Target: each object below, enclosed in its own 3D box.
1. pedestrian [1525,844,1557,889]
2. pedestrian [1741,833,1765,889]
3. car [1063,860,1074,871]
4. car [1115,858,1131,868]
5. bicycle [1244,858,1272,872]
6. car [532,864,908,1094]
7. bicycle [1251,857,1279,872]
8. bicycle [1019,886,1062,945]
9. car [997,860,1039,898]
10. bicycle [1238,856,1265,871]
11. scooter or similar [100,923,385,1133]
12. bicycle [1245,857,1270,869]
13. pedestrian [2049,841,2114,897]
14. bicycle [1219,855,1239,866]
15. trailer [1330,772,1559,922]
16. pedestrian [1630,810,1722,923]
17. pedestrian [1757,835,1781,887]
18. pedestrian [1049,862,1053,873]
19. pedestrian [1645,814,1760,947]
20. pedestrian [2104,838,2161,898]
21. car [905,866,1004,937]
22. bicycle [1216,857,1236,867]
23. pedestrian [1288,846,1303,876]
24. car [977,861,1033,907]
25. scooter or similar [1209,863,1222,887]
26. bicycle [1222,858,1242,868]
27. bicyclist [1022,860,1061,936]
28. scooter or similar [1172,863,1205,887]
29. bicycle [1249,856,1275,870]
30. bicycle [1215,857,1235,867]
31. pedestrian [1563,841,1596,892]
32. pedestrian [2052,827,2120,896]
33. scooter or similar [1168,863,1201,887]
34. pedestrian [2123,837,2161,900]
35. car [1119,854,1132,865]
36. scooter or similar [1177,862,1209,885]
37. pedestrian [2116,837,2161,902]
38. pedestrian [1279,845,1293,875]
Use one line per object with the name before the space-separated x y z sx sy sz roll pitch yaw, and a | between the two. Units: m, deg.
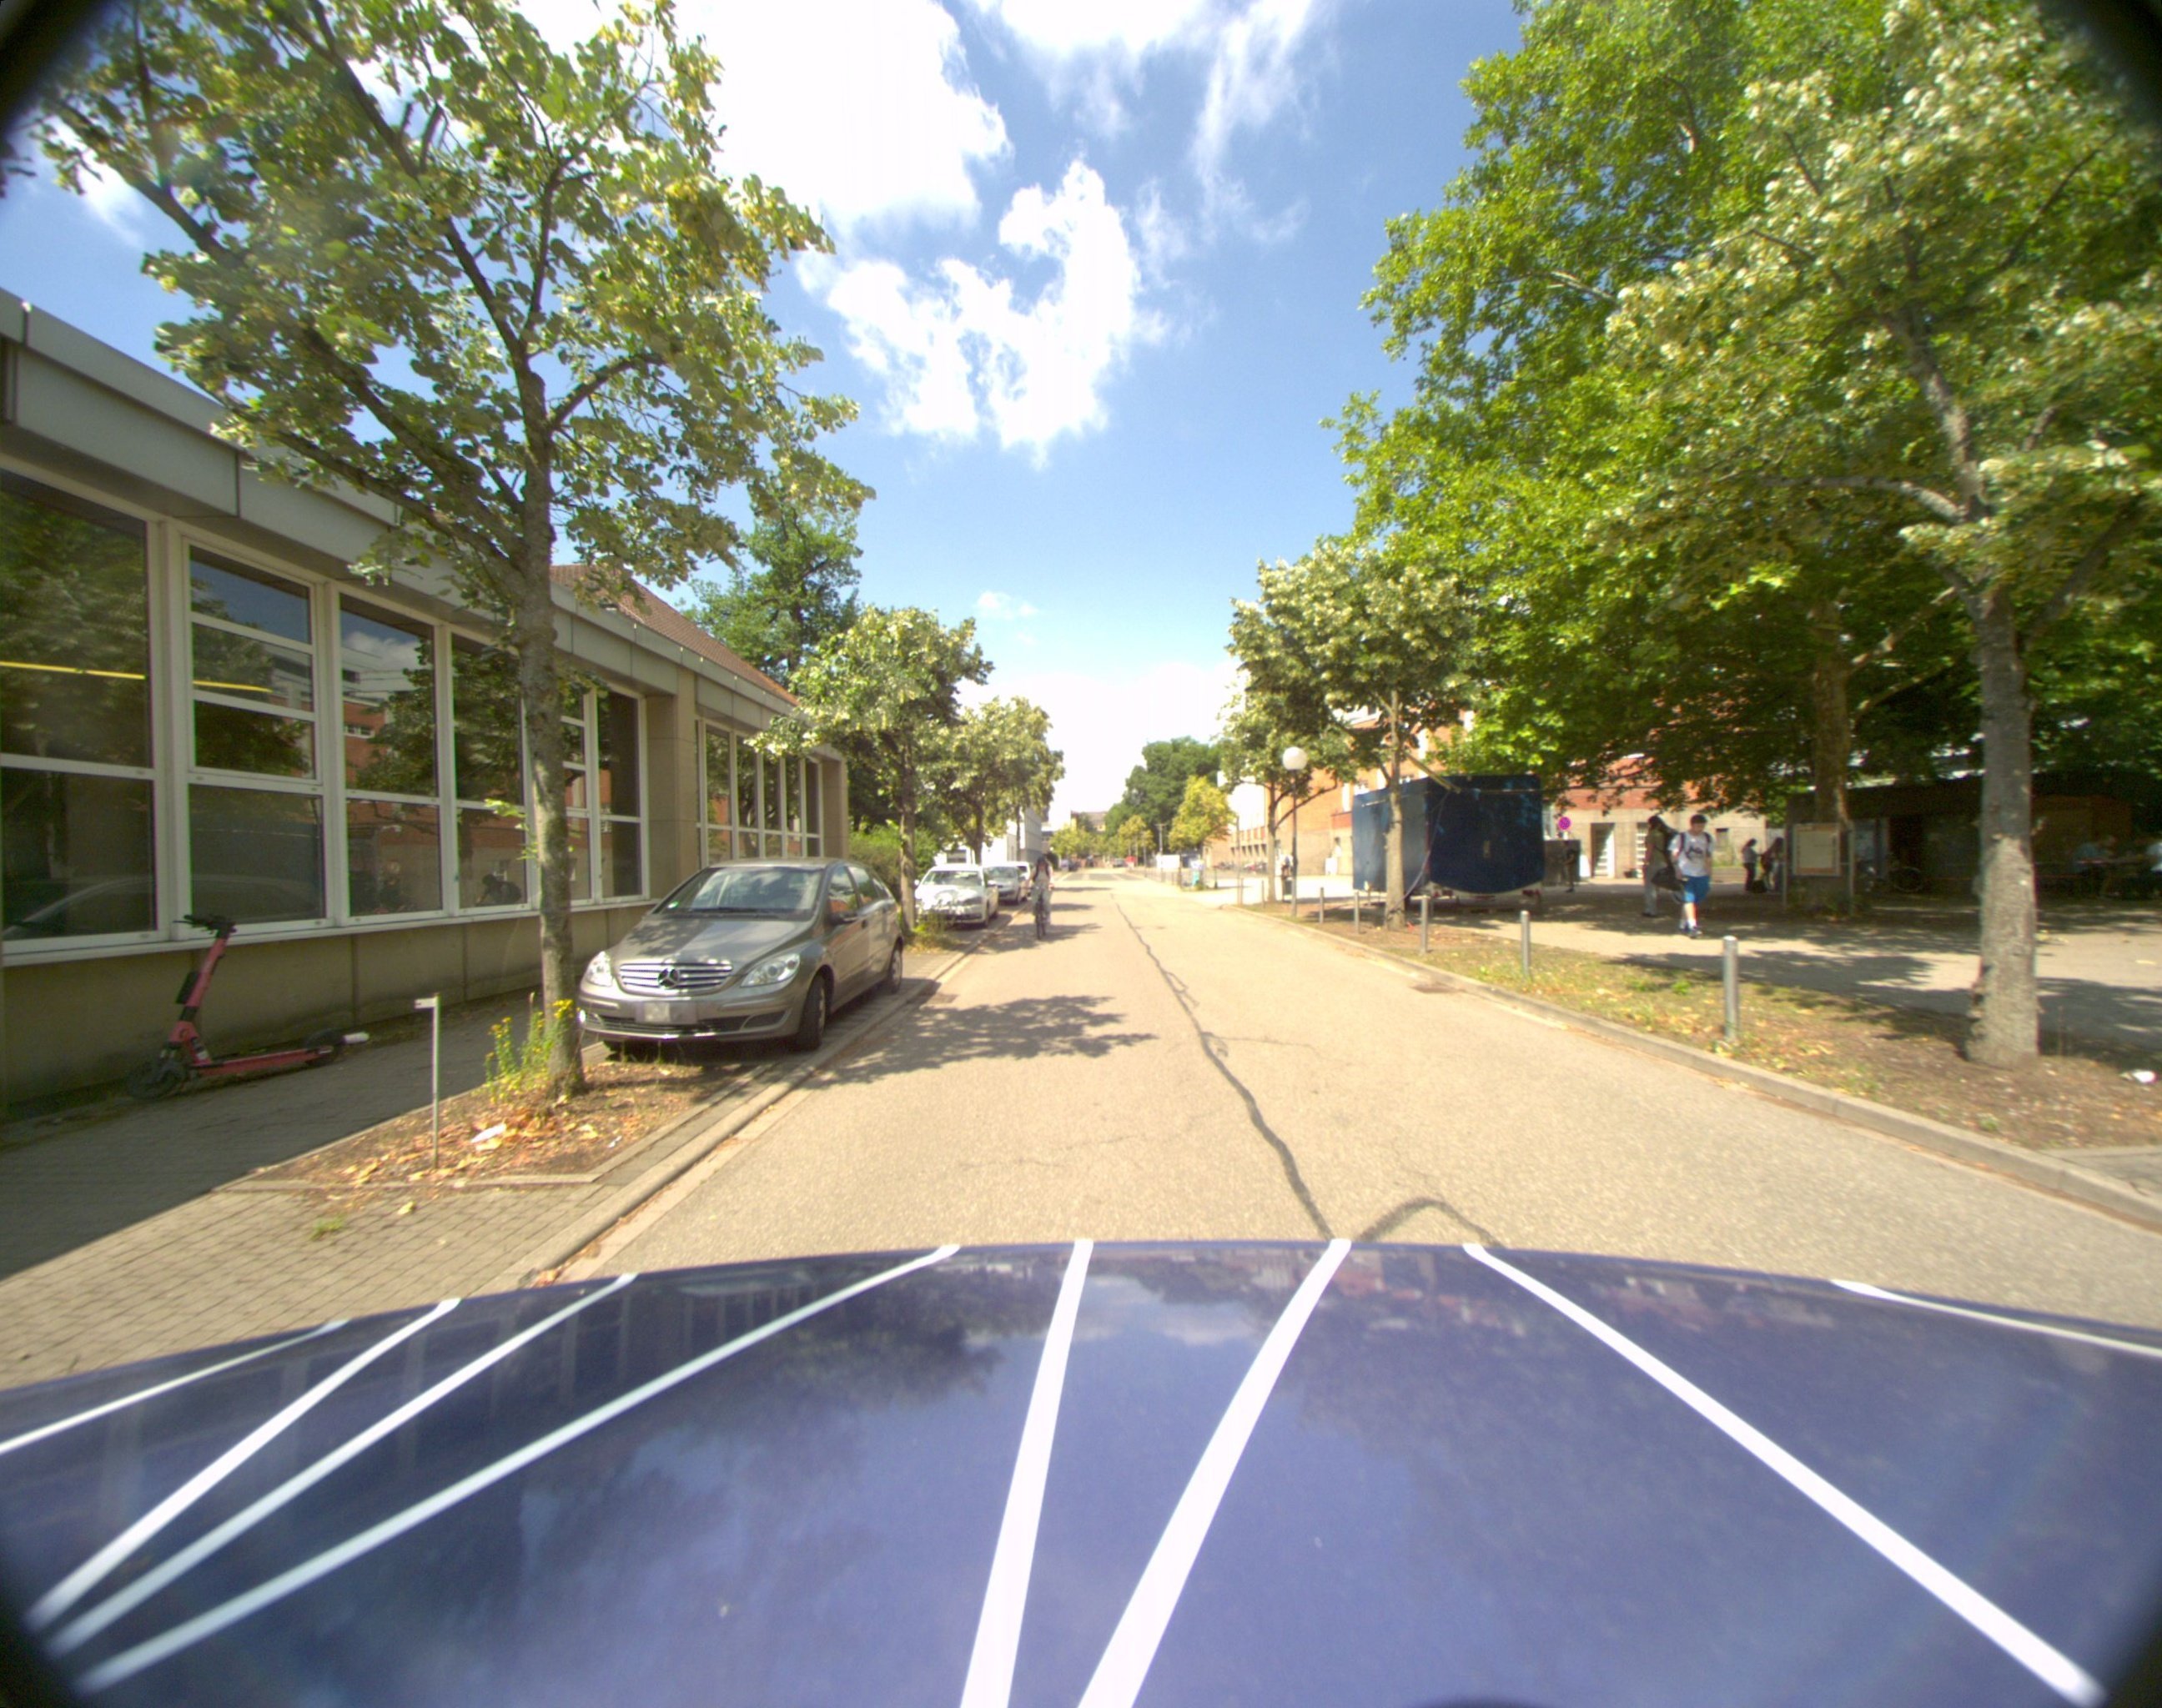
pedestrian | 15.761 0.426 26.040 0.744 1.500 0.499 -2 0 2
pedestrian | 20.798 0.216 23.511 0.531 1.700 0.447 -3 0 -43
car | -1.756 1.620 106.855 1.552 1.377 3.454 -1 0 -1
car | 8.978 1.828 162.195 2.022 2.079 4.440 -2 -1 22
bicycle | 14.251 0.893 61.212 2.026 1.119 0.592 -1 0 2
car | -2.990 0.898 7.379 1.708 1.565 4.140 0 0 -1
bicycle | 14.346 0.844 59.234 2.027 1.119 0.667 -1 0 0
bicycle | -0.814 1.247 15.895 0.675 1.066 2.136 -1 0 2
car | -2.741 1.050 33.550 1.591 1.458 3.988 -1 1 -2
bicycle | 13.898 0.747 61.902 2.026 1.119 0.439 -3 0 5
scooter or similar | -6.014 1.173 5.575 0.417 1.210 1.493 0 0 1
bicycle | 15.140 0.772 65.169 2.027 1.055 0.663 -1 0 0
pedestrian | 23.250 0.340 17.659 0.561 1.264 0.693 -2 0 1
bicycle | 15.168 0.678 77.812 1.955 1.024 0.530 -1 0 0
trailer | 8.636 -0.134 19.039 2.703 3.009 6.266 -2 0 1
pedestrian | 10.797 0.216 13.828 0.919 1.943 0.893 -4 1 11
pedestrian | 21.441 0.230 23.678 0.607 1.584 0.412 -3 0 -41
pedestrian | -3.822 1.686 96.749 0.525 1.430 0.701 -1 0 4
pedestrian | 9.012 0.367 11.062 0.801 1.820 0.987 -2 0 1
pedestrian | 23.224 0.301 16.686 0.561 1.264 0.693 -2 0 1
car | -2.956 1.059 18.687 1.730 1.458 4.671 0 0 -1
bicycle | 15.311 0.856 80.206 1.955 1.024 0.518 -1 0 0
pedestrian | 12.859 0.415 45.568 0.577 1.769 0.917 -2 1 0
car | -2.635 1.014 27.140 1.651 1.382 3.988 -2 0 -1
scooter or similar | 6.879 1.070 38.735 0.564 1.142 1.351 -1 0 13
bicycle | 15.109 0.872 76.067 1.955 0.935 0.569 -1 0 0
bicyclist | -0.805 0.889 15.722 0.675 1.470 1.062 -1 2 3
scooter or similar | 5.723 1.118 40.422 1.571 1.218 0.566 -1 1 28
bicycle | 15.115 0.762 63.422 2.015 1.076 0.622 -1 0 0
bicycle | 15.330 0.857 80.929 1.955 1.024 0.542 -1 0 0
pedestrian | 16.631 0.402 25.380 0.632 1.656 0.643 -2 0 2
pedestrian | 20.663 0.160 15.625 0.596 1.361 0.741 -2 -2 -33
scooter or similar | 5.416 1.087 39.796 1.571 1.218 0.525 -1 1 28
pedestrian | 21.375 0.282 15.082 0.596 1.226 0.741 -2 -2 -33
car | 7.988 1.071 136.085 1.912 1.870 4.003 -2 -1 7
scooter or similar | 6.088 1.062 41.205 1.571 1.218 0.571 -1 1 28
pedestrian | 20.827 0.302 14.779 0.596 1.226 0.741 -2 -2 -33
pedestrian | 12.275 0.343 45.571 0.564 1.751 0.805 -2 1 0
